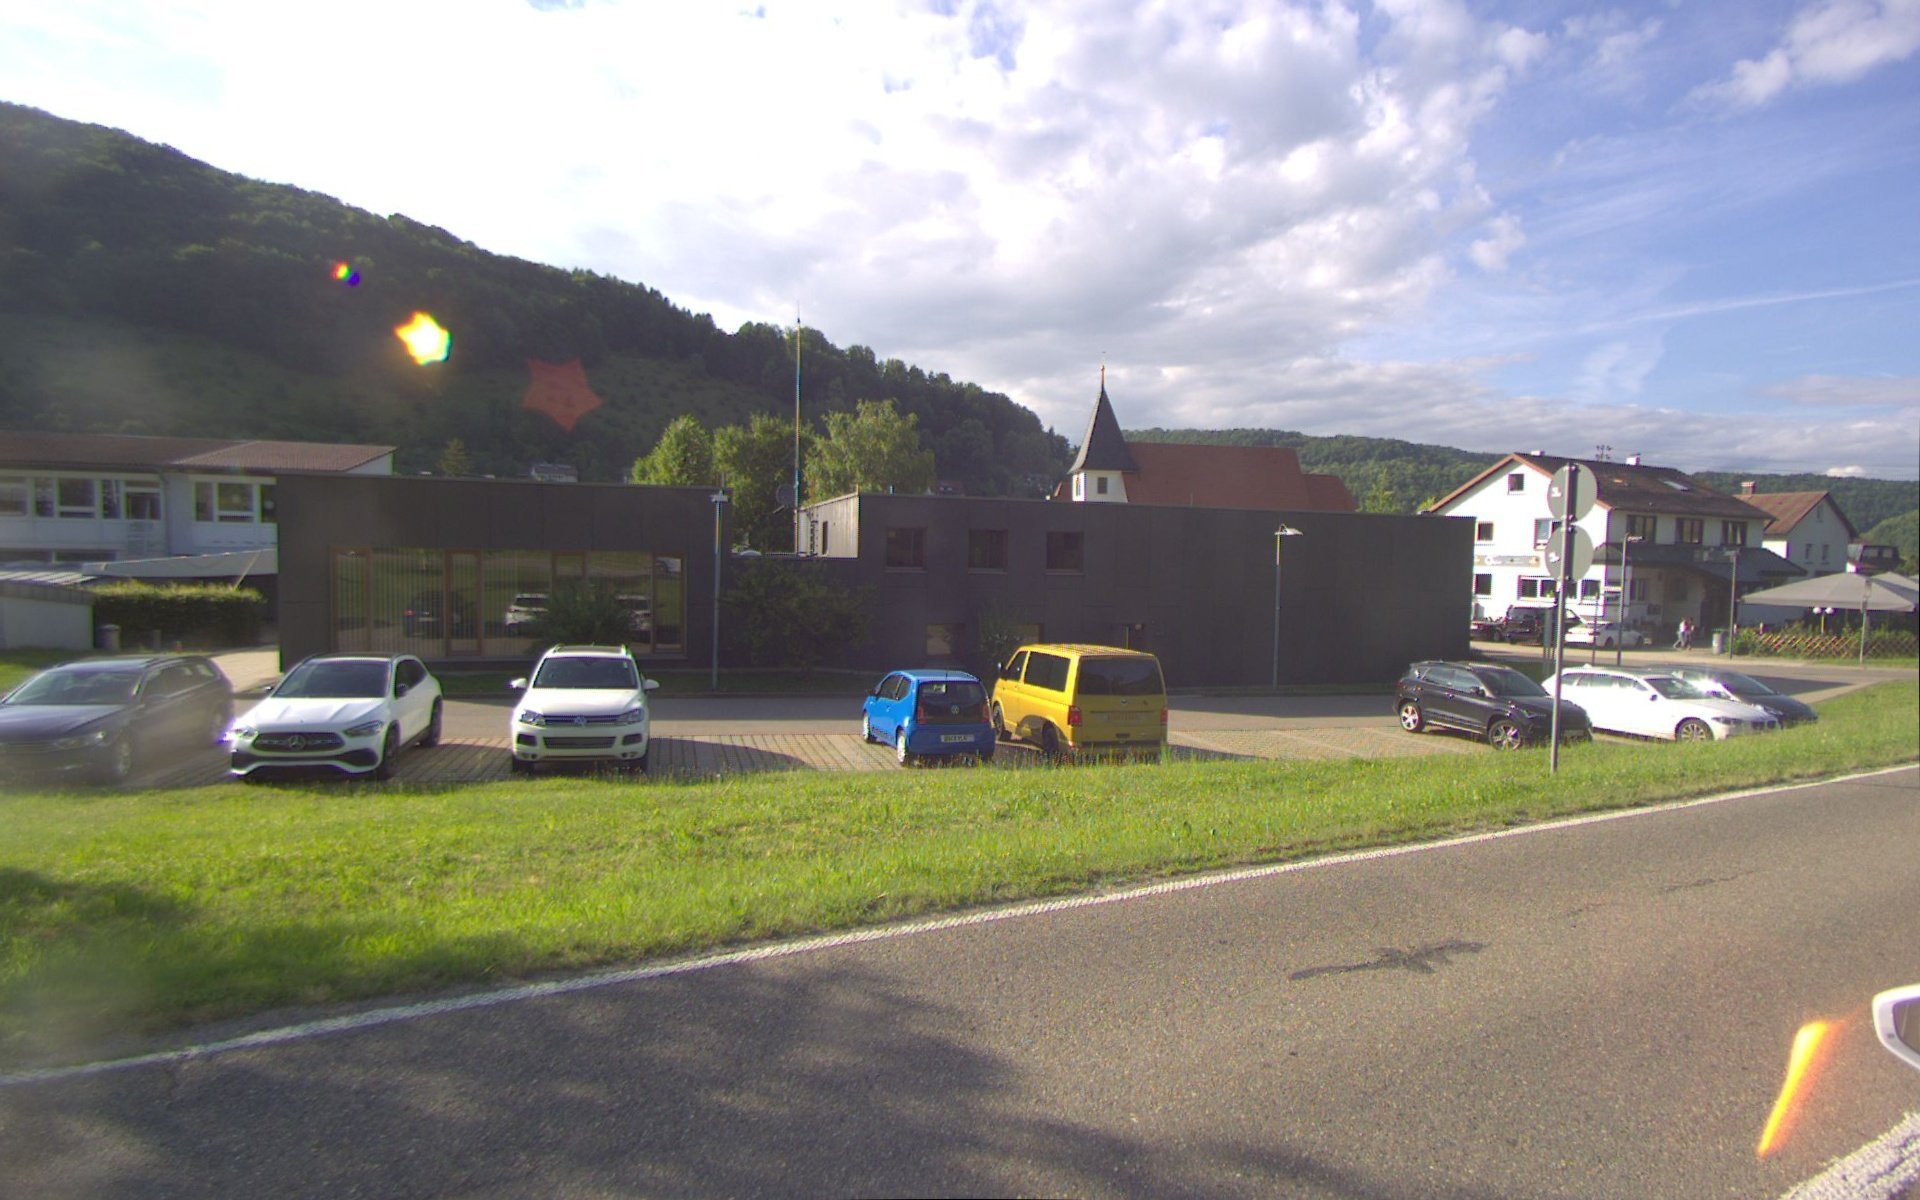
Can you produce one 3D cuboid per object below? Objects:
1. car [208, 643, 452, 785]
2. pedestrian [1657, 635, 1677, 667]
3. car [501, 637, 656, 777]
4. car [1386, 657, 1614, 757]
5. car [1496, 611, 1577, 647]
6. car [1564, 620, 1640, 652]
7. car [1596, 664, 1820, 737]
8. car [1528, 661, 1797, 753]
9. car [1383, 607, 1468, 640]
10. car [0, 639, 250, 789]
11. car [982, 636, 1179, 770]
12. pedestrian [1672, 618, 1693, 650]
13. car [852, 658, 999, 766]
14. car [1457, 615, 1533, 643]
[{"bbox_3d":[-9.190,1.563,15.137,1.968,1.575,4.536,2,0,-17],"label":"car"},{"bbox_3d":[35.337,2.551,50.205,0.583,1.523,0.605,2,0,-30],"label":"pedestrian"},{"bbox_3d":[-5.991,1.579,16.218,1.968,1.725,4.536,2,0,-17],"label":"car"},{"bbox_3d":[11.313,2.193,21.390,1.968,1.659,4.022,2,0,-17],"label":"car"},{"bbox_3d":[29.889,1.505,52.073,3.953,1.684,1.878,2,0,-30],"label":"car"},{"bbox_3d":[31.794,1.800,49.724,3.953,1.469,1.548,2,0,-30],"label":"car"},{"bbox_3d":[17.727,2.338,24.035,1.735,1.327,3.979,2,0,-21],"label":"car"},{"bbox_3d":[15.542,2.305,22.593,1.851,1.513,4.811,2,0,-17],"label":"car"},{"bbox_3d":[22.936,1.109,49.623,1.885,1.461,3.993,2,0,-9],"label":"car"},{"bbox_3d":[-12.113,1.469,14.252,1.968,1.575,4.536,2,0,-17],"label":"car"},{"bbox_3d":[1.980,1.716,18.092,1.966,1.893,4.612,2,0,-14],"label":"car"},{"bbox_3d":[35.223,1.672,48.984,0.583,1.523,0.605,2,0,-30],"label":"pedestrian"},{"bbox_3d":[-0.715,1.897,17.834,1.608,1.491,3.489,2,0,-20],"label":"car"},{"bbox_3d":[28.828,1.579,54.153,3.954,1.372,1.832,2,0,-31],"label":"car"}]
